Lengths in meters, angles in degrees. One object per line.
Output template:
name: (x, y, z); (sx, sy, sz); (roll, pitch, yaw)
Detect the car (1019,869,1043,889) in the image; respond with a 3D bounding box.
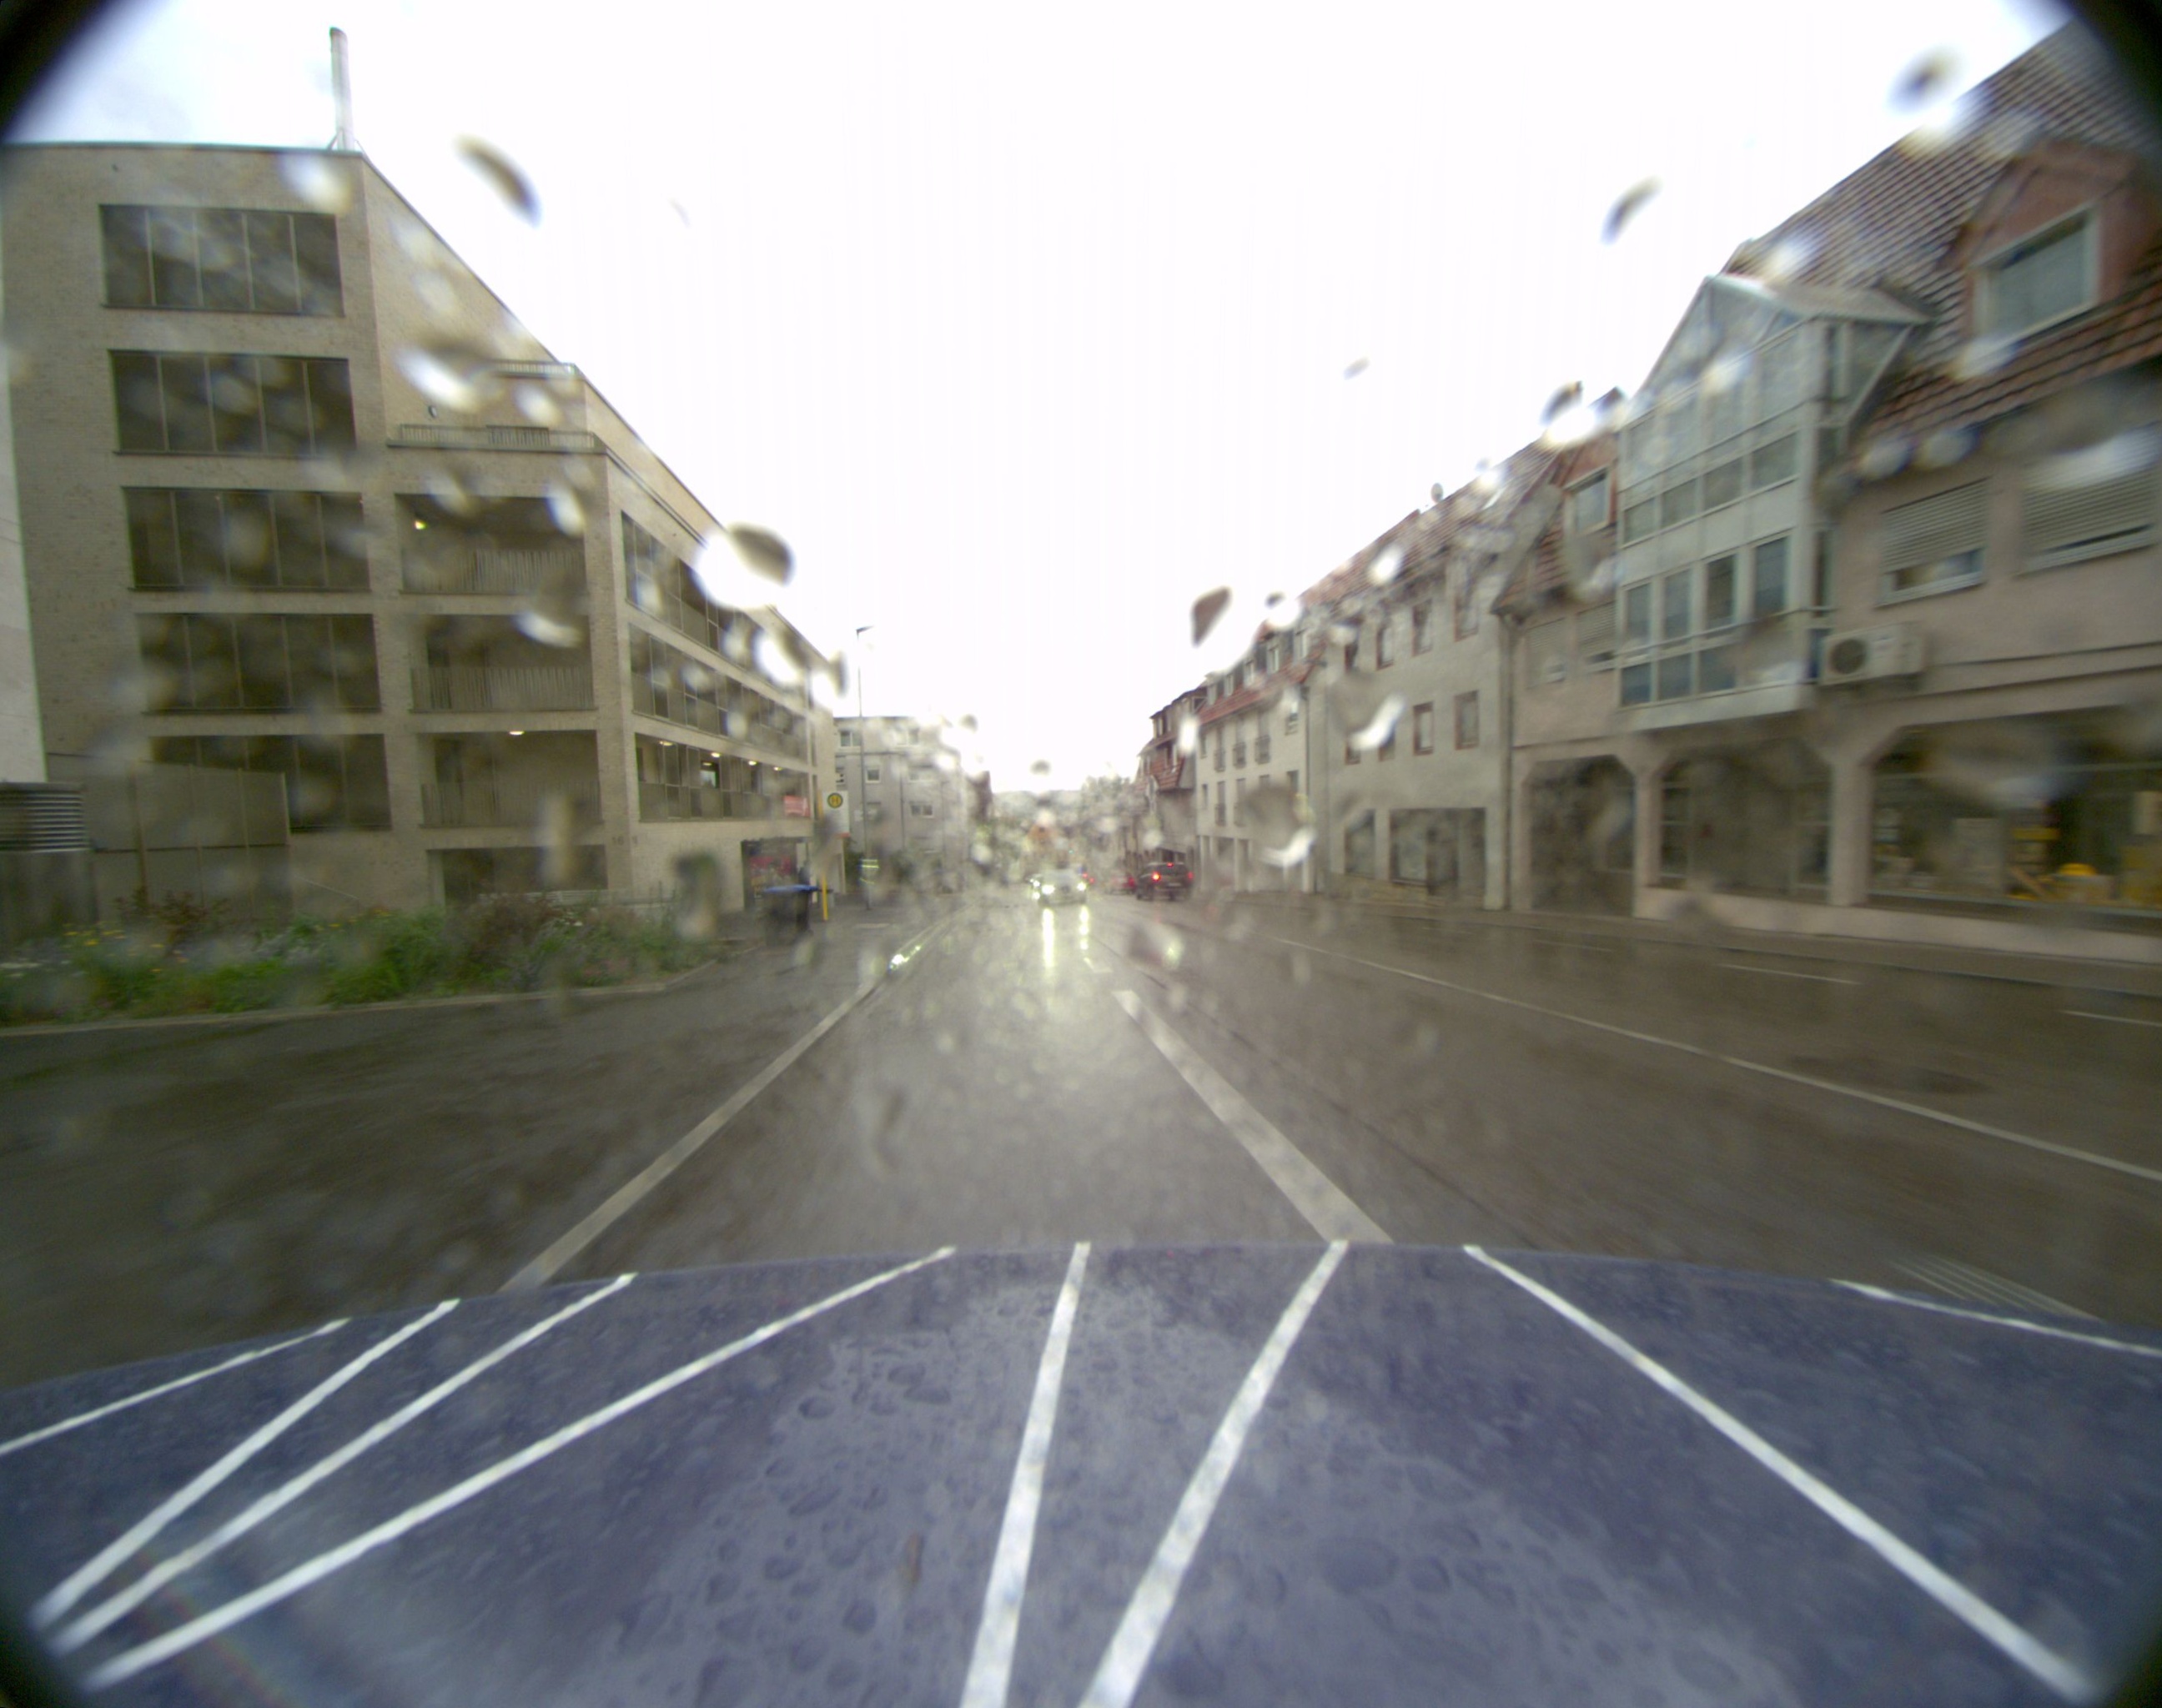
car: (-4.404, 2.230, 67.444); (1.968, 1.597, 4.384); (-2, -2, -2)

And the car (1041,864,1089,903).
car: (-0.770, 1.255, 33.932); (1.968, 1.548, 4.622); (-2, -1, -2)

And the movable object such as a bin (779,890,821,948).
movable object such as a bin: (-5.456, 1.252, 14.768); (0.597, 1.056, 0.579); (-1, 0, -4)

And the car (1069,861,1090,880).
car: (-0.173, 1.785, 81.251); (1.937, 1.896, 5.042); (-2, -1, -2)

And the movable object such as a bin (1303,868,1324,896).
movable object such as a bin: (8.725, 1.041, 28.514); (0.509, 1.000, 0.585); (-2, -1, -7)

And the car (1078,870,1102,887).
car: (0.820, 2.199, 68.837); (1.693, 1.435, 3.908); (-2, -1, -6)

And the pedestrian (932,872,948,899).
pedestrian: (-8.248, 1.817, 44.486); (0.737, 1.533, 1.038); (1, 0, -1)

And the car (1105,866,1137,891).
car: (2.510, 1.557, 48.603); (1.564, 1.526, 3.448); (0, -1, -5)

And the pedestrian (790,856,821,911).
pedestrian: (-9.842, 1.049, 27.192); (0.784, 1.928, 1.021); (0, 0, -3)

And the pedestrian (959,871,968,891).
pedestrian: (-9.350, 2.113, 60.457); (0.692, 1.546, 0.710); (-2, -1, -9)

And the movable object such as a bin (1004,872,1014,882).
movable object such as a bin: (-9.681, 3.135, 102.110); (1.238, 1.327, 1.172); (-1, -1, -1)

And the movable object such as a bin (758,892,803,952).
movable object such as a bin: (-5.554, 1.242, 14.056); (0.597, 1.056, 0.579); (-1, 0, -4)

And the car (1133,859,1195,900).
car: (3.561, 1.085, 33.376); (1.787, 1.620, 4.214); (-2, -1, -7)

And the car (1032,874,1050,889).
car: (-4.525, 3.142, 86.237); (1.968, 1.597, 4.384); (-2, -2, -2)
